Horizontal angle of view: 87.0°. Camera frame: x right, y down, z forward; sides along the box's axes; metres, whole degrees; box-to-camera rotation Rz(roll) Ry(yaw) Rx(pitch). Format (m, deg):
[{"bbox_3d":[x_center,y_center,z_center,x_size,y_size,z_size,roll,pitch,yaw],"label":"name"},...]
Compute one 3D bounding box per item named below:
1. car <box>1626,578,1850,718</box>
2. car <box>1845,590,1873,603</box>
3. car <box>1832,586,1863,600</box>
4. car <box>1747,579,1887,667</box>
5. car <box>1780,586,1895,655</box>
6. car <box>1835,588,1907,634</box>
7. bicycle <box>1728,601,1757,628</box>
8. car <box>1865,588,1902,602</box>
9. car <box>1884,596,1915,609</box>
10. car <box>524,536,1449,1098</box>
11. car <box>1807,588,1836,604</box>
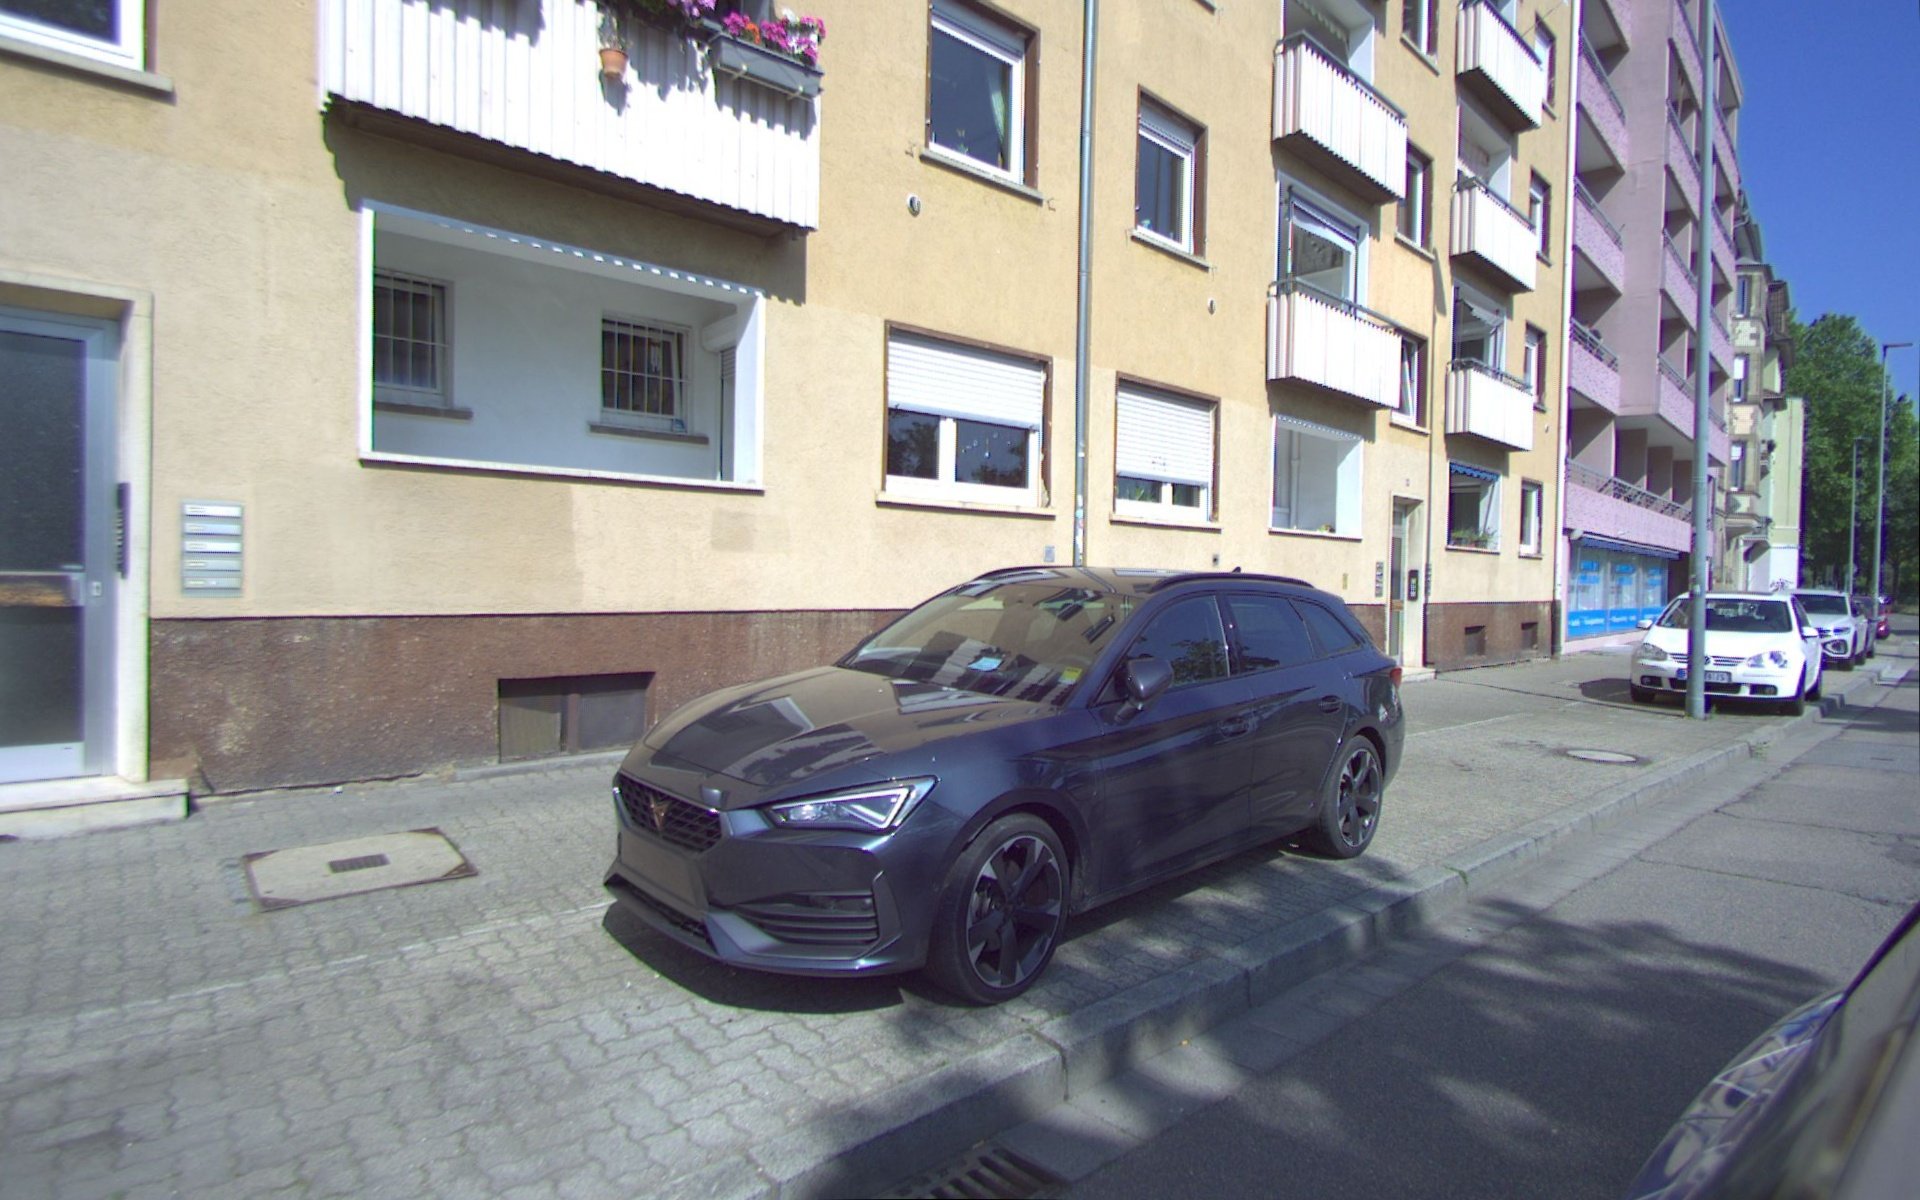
[{"bbox_3d":[10.438,0.538,13.466,4.059,1.524,1.758,1,2,-44],"label":"car"},{"bbox_3d":[114.502,-0.448,128.937,1.664,1.487,3.546,2,2,25],"label":"car"},{"bbox_3d":[108.912,-0.843,124.271,1.785,1.538,3.930,3,3,26],"label":"car"},{"bbox_3d":[17.694,0.422,20.826,4.282,1.560,1.738,0,3,-44],"label":"car"},{"bbox_3d":[20.964,0.453,24.142,3.373,1.426,1.681,1,4,-44],"label":"car"},{"bbox_3d":[33.124,0.360,36.826,1.785,1.500,3.939,5,3,42],"label":"car"},{"bbox_3d":[30.097,0.539,38.916,0.650,0.982,1.835,4,3,43],"label":"bicycle"},{"bbox_3d":[105.730,-0.608,115.871,1.852,1.470,4.169,4,3,25],"label":"car"},{"bbox_3d":[112.471,0.294,121.146,1.630,1.519,3.617,2,2,26],"label":"car"},{"bbox_3d":[0.552,0.529,4.864,4.515,1.456,1.802,0,3,-45],"label":"car"},{"bbox_3d":[112.589,-0.556,132.316,1.981,1.914,3.963,2,2,27],"label":"car"}]
